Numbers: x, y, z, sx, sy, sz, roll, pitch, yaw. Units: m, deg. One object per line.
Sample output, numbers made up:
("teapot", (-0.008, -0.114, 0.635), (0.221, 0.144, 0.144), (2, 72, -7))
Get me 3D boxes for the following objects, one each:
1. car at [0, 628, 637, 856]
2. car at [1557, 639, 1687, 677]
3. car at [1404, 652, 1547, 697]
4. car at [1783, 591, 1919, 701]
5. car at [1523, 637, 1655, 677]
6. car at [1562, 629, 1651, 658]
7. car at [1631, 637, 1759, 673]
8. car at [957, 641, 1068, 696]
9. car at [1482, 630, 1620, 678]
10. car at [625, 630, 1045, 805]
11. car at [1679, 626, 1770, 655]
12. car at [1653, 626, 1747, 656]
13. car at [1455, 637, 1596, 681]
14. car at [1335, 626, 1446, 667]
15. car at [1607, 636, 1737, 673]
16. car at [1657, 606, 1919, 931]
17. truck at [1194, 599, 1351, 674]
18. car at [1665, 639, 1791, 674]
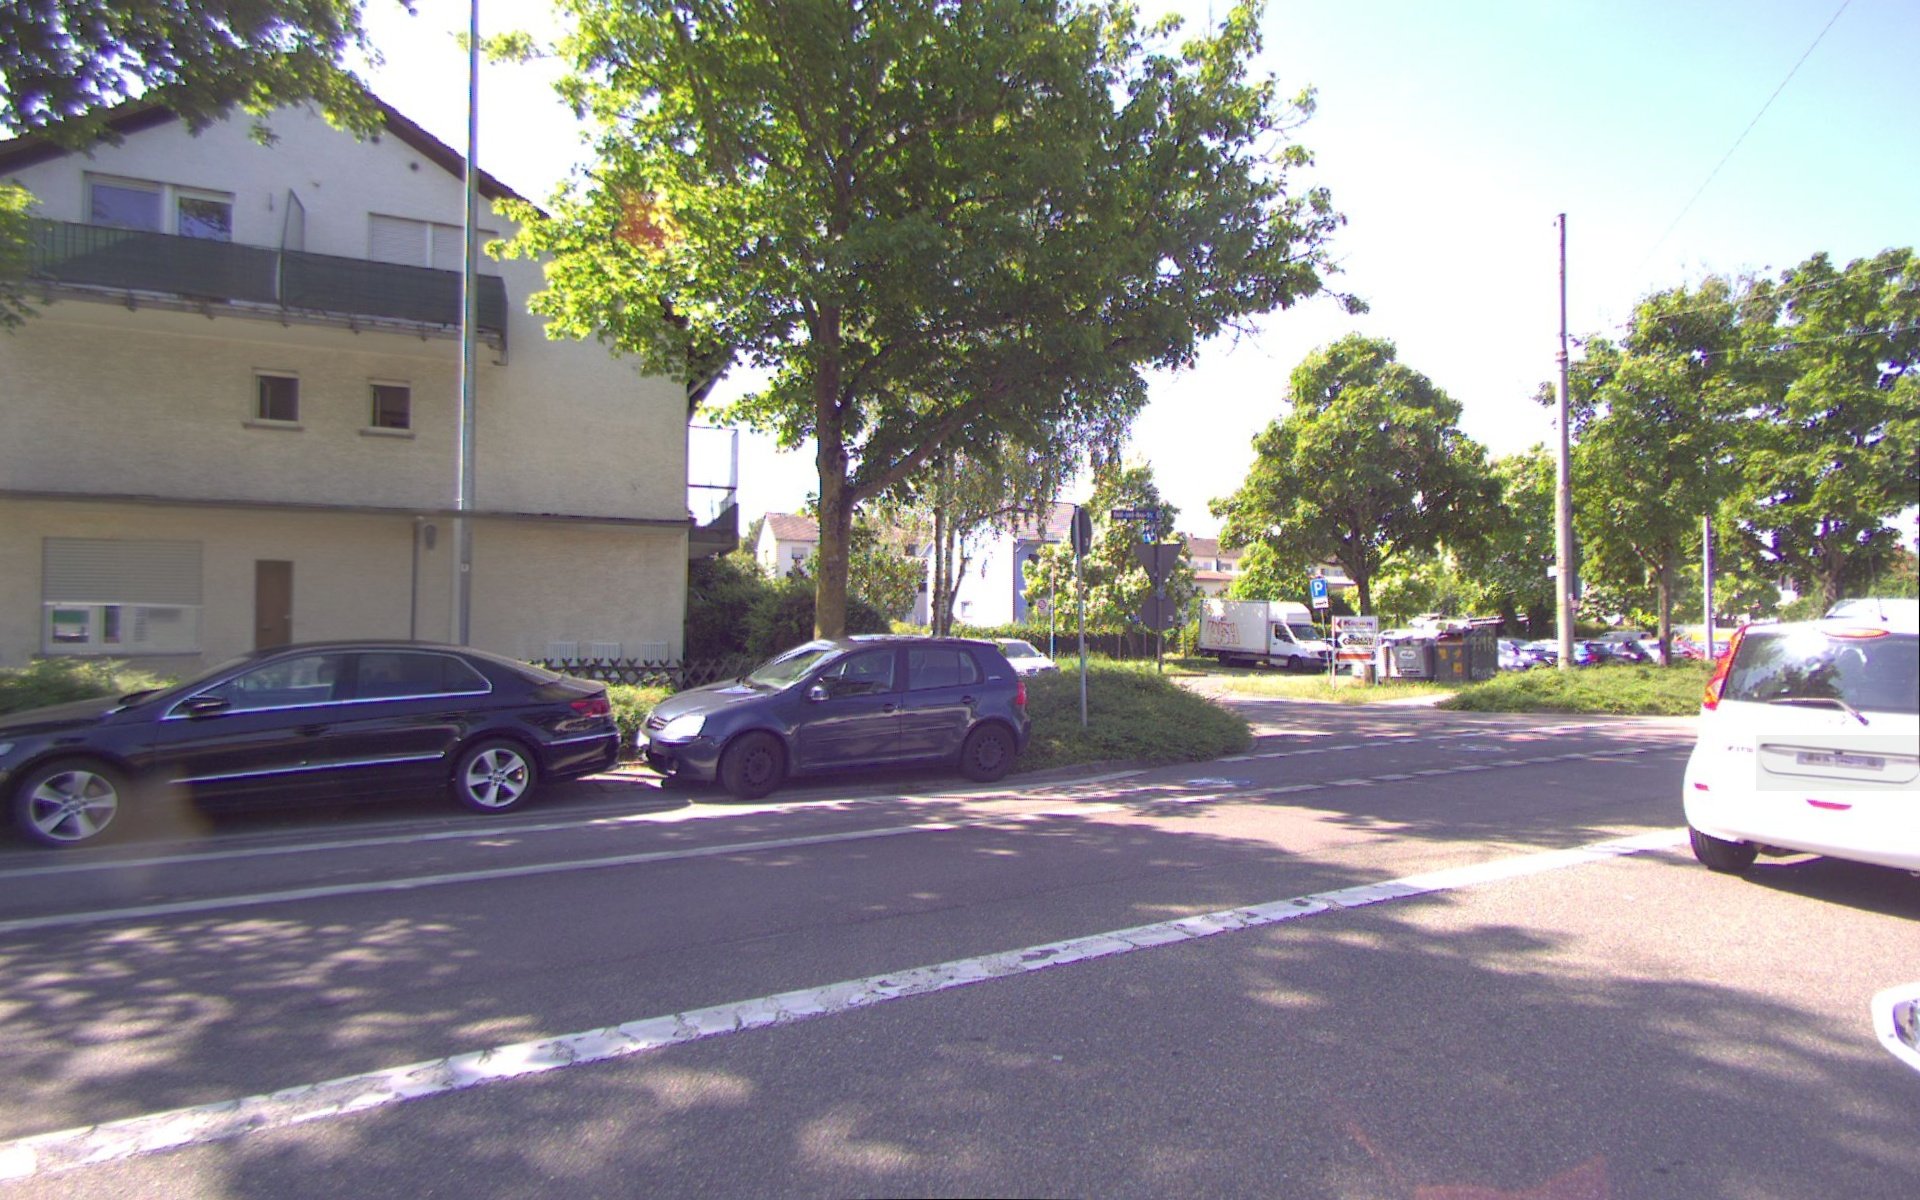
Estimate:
("car", (-5.245, 1.000, 8.371), (4.568, 1.434, 1.854), (1, 0, -31))
("car", (26.342, 2.318, 40.098), (1.712, 1.434, 3.964), (2, -4, -33))
("car", (17.314, 2.480, 33.901), (1.712, 1.434, 3.964), (2, -4, -33))
("car", (23.785, 1.131, 25.777), (5.745, 2.550, 2.114), (1, 0, -29))
("car", (24.161, 2.202, 38.717), (1.712, 1.434, 3.964), (2, -4, -33))
("car", (44.547, 2.975, 69.330), (2.043, 1.811, 4.762), (2, 0, -34))
("car", (30.731, 2.322, 42.087), (1.712, 1.434, 3.964), (2, -4, -33))
("car", (1.403, 1.915, 28.440), (1.704, 1.434, 3.983), (1, -3, -20))
("car", (21.405, 1.961, 36.509), (1.712, 1.631, 3.964), (2, -4, -33))
("car", (-1.267, 1.090, 10.458), (3.988, 1.462, 1.718), (1, 0, -28))
("car", (54.411, 2.888, 71.551), (2.043, 1.811, 4.762), (2, 0, -34))
("car", (50.542, 2.757, 68.730), (2.043, 1.811, 4.762), (2, 0, -34))
("car", (19.686, 2.066, 35.124), (1.712, 1.434, 3.964), (2, -4, -33))
("car", (21.647, 2.313, 50.687), (2.043, 1.811, 4.762), (2, 0, -34))
("car", (28.820, 2.232, 40.786), (1.712, 1.434, 3.964), (2, -4, -33))
("car", (6.429, 0.857, 6.254), (4.491, 1.568, 1.655), (1, -1, -29))
("truck", (14.389, 1.606, 46.829), (2.646, 3.151, 6.967), (1, 0, -30))
("car", (33.153, 2.434, 43.457), (1.712, 1.434, 3.964), (2, -4, -33))
